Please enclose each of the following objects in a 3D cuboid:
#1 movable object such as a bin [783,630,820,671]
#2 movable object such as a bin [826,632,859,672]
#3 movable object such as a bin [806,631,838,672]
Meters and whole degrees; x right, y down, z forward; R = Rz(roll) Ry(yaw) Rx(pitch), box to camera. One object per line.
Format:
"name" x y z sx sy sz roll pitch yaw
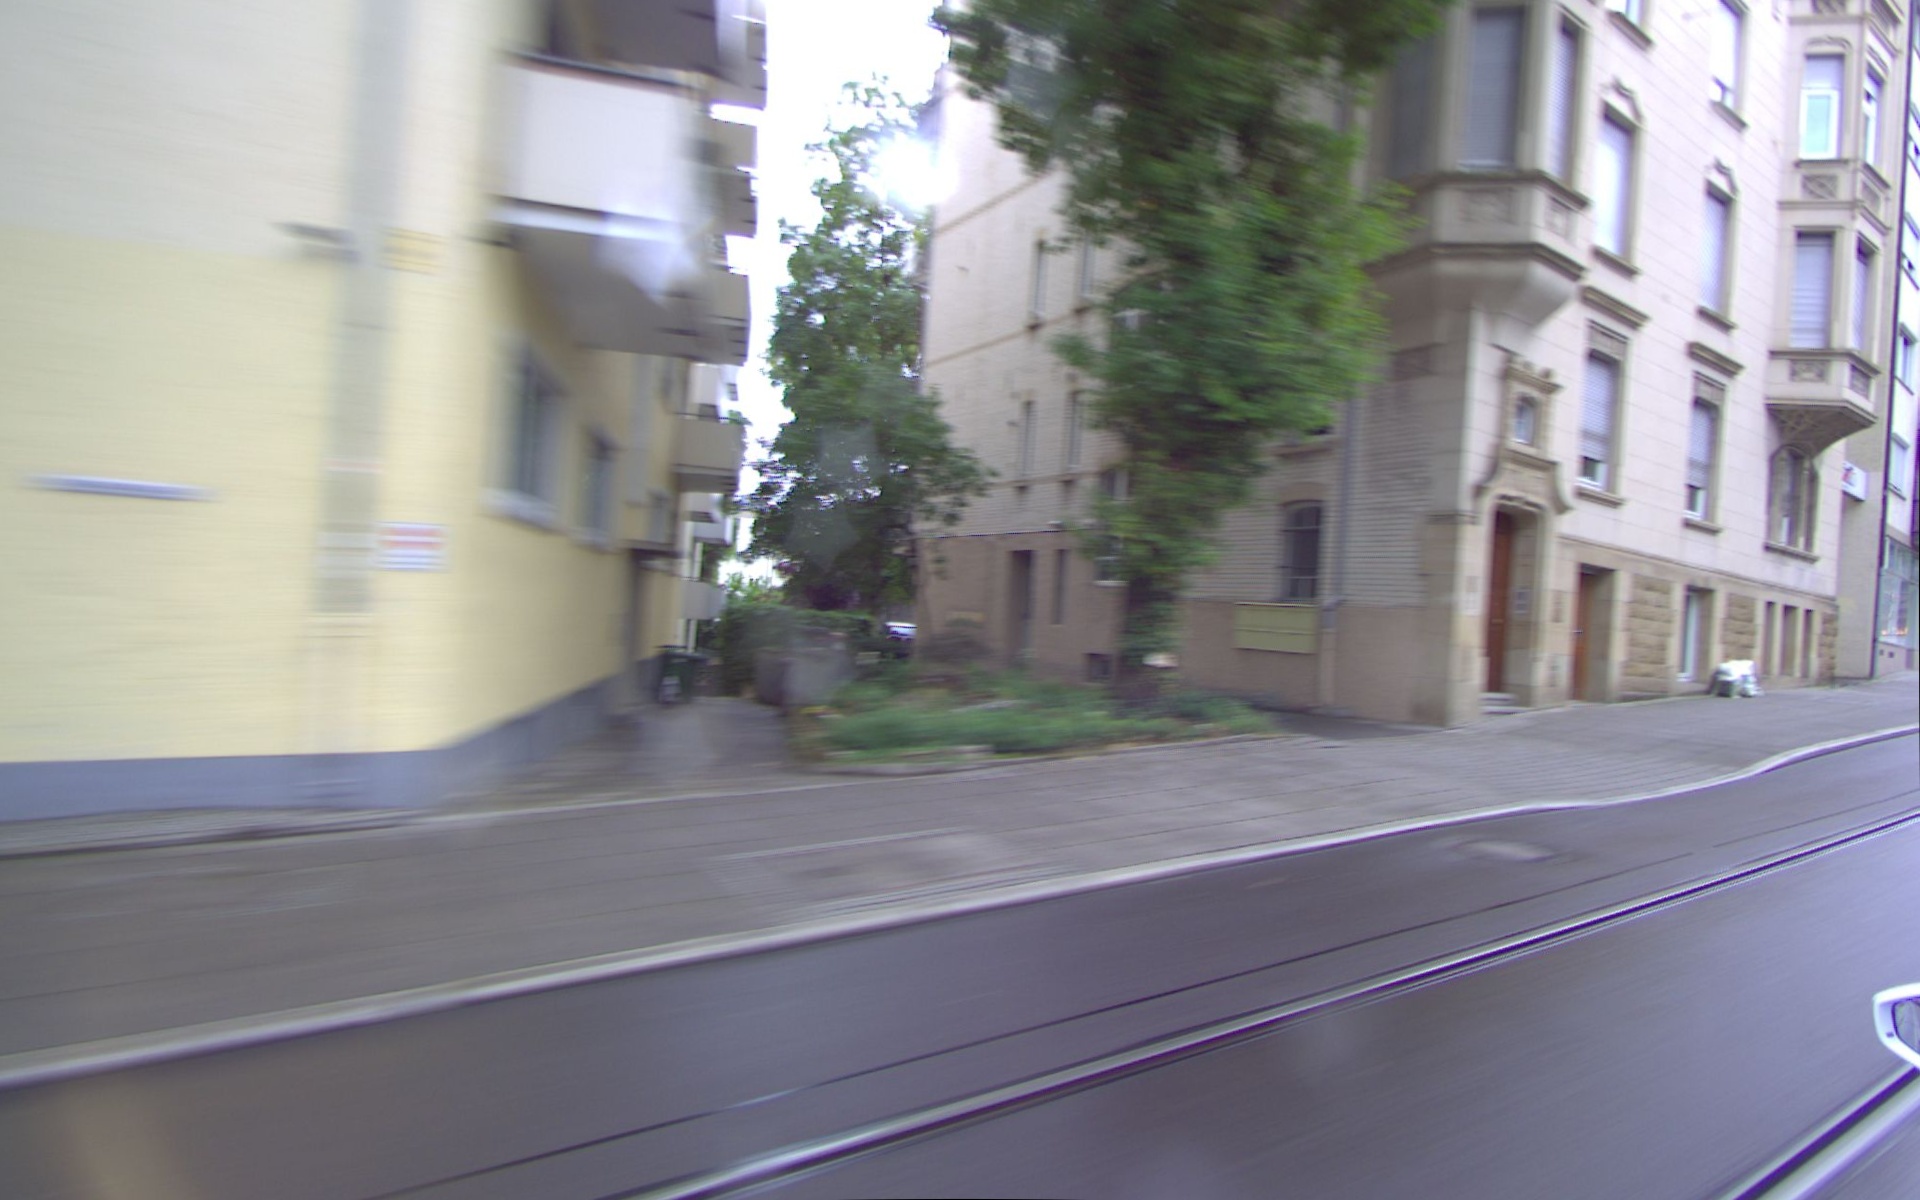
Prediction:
"movable object such as a bin" -4.288 1.364 27.139 0.652 1.048 0.736 5 -1 -35
"movable object such as a bin" -3.262 1.432 27.869 0.576 1.048 0.690 5 -1 -35
"movable object such as a bin" -3.784 1.412 27.542 0.576 1.048 0.690 5 -1 -35
